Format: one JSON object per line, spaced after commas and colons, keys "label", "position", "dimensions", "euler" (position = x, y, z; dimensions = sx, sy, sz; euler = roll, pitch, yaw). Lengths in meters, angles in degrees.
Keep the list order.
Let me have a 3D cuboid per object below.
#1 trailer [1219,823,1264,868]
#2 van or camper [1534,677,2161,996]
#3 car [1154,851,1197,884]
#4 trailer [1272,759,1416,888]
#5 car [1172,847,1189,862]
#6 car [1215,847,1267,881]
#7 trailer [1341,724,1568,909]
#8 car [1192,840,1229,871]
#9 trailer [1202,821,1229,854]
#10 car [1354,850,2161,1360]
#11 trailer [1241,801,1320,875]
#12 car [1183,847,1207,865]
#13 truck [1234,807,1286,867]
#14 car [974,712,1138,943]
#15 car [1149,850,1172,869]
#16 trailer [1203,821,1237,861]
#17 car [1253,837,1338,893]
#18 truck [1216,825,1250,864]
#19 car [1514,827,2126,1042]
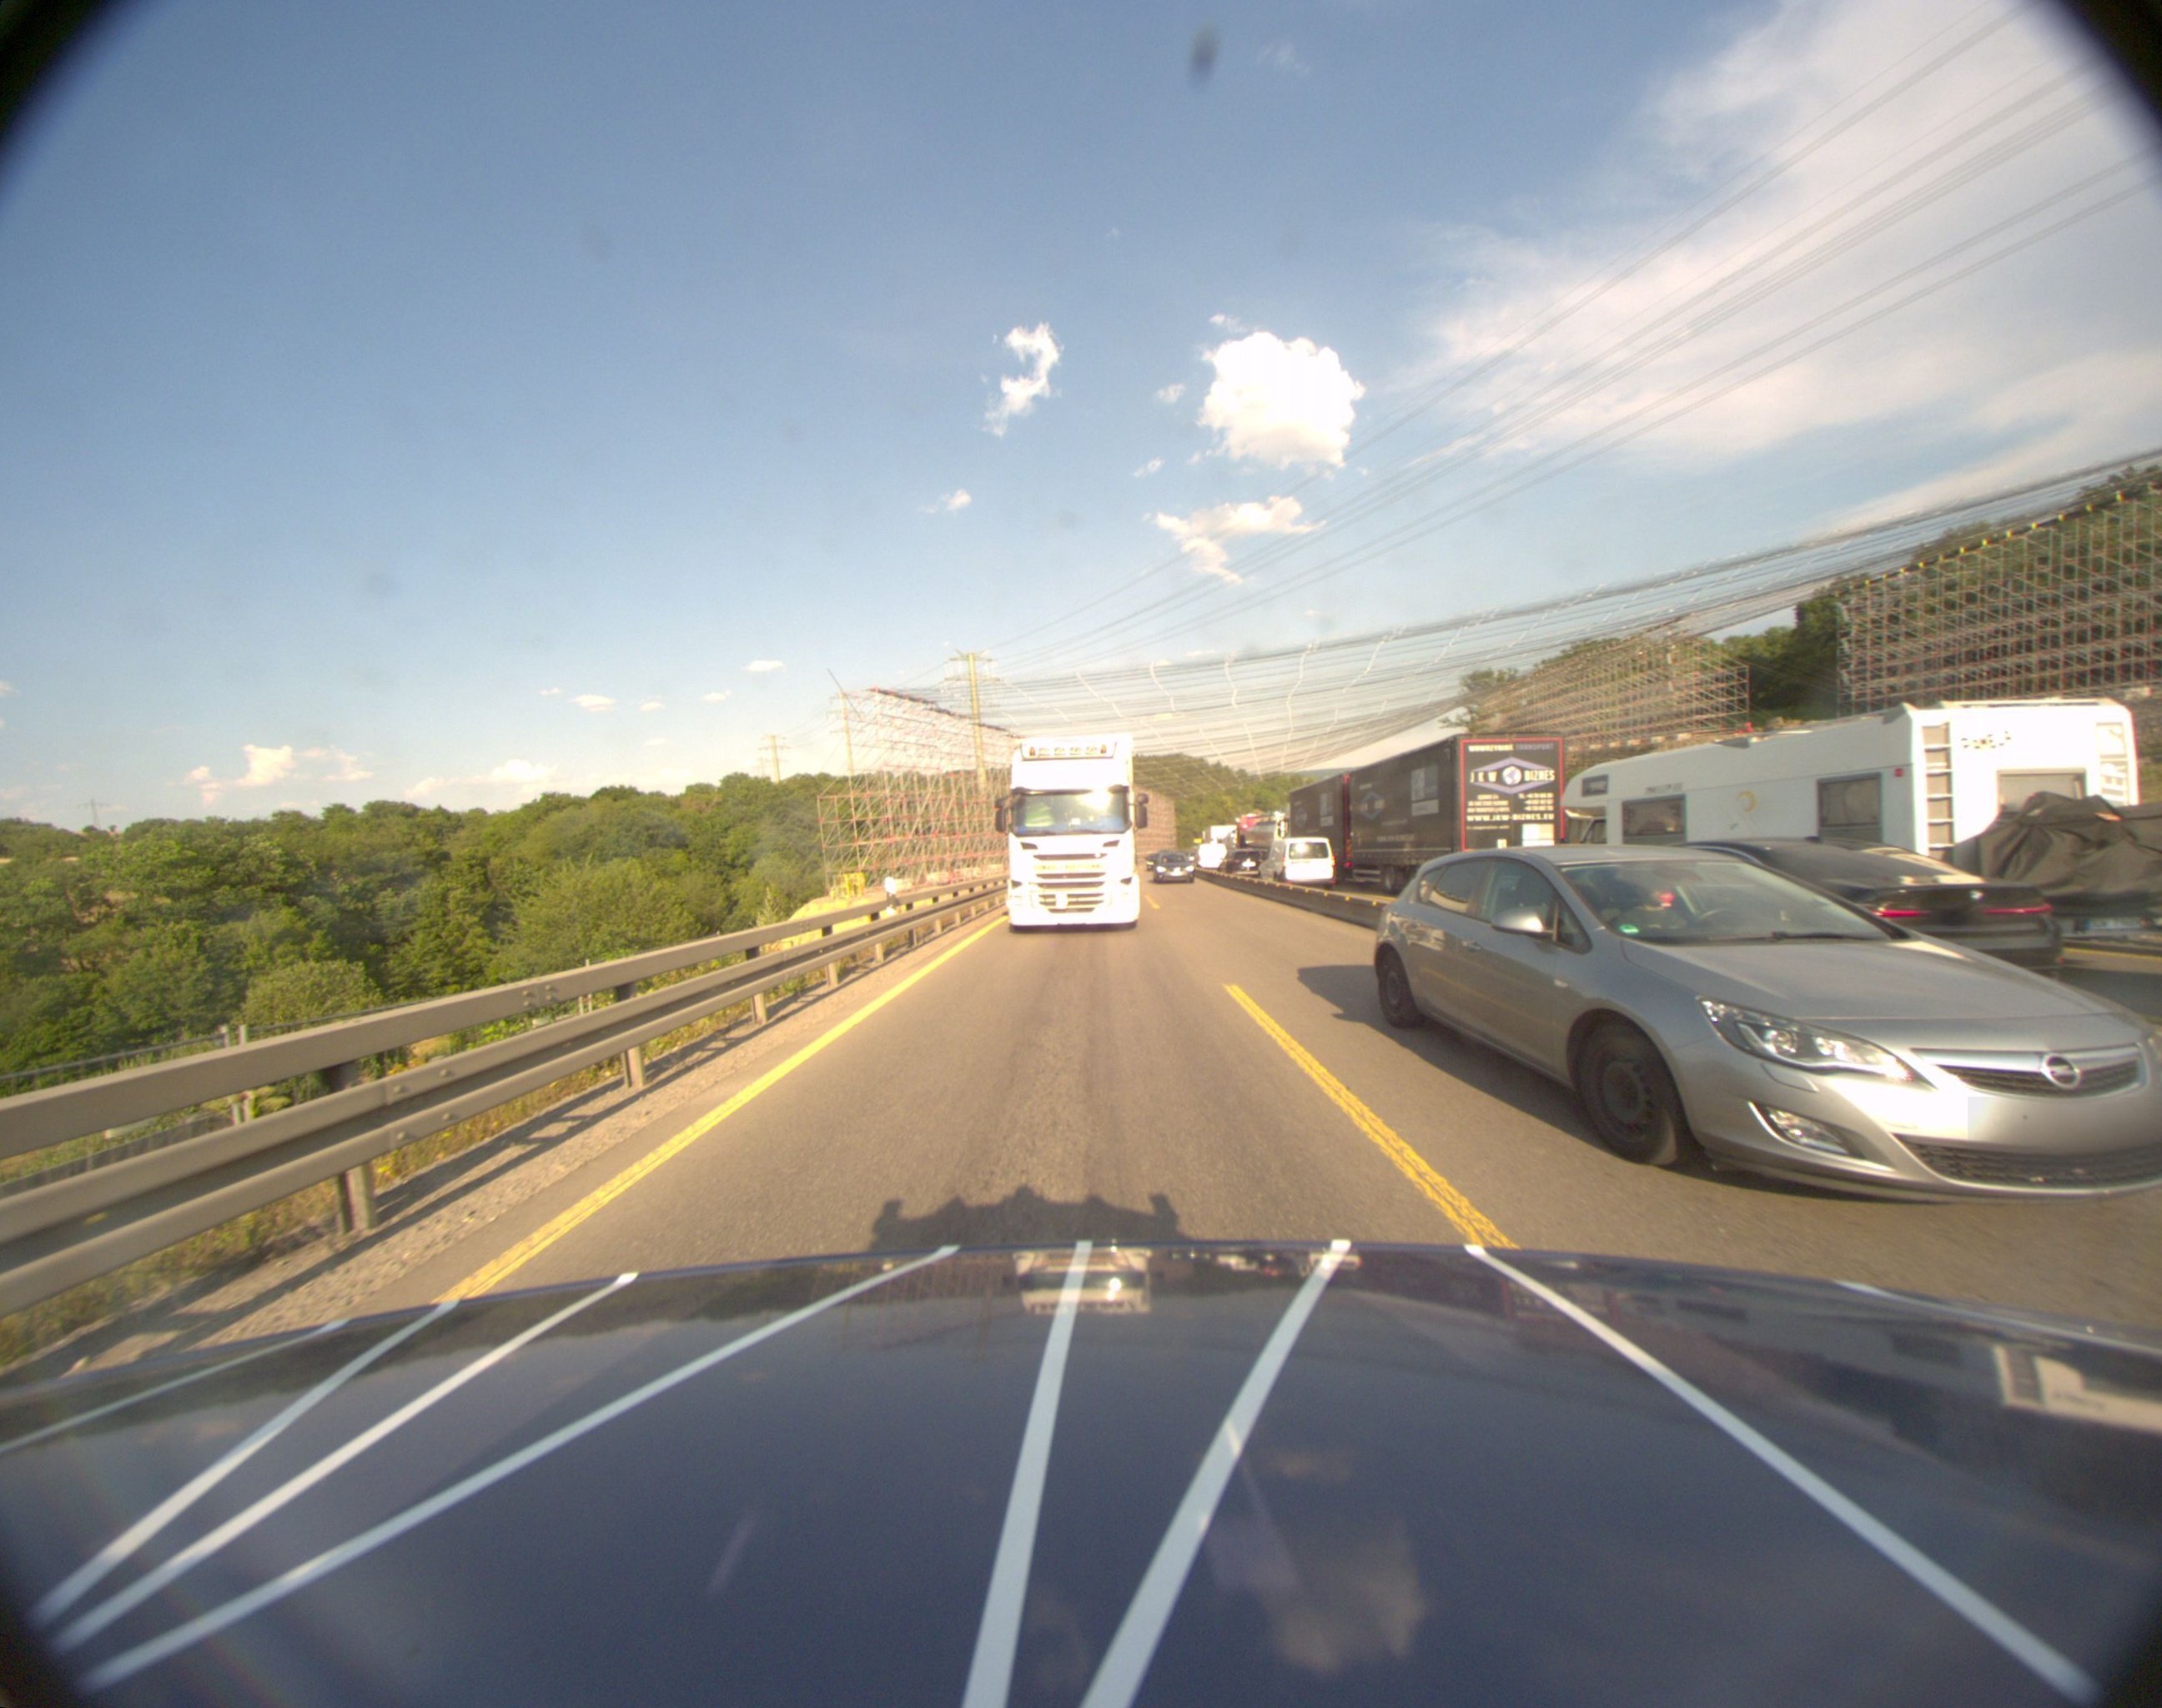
{"label": "trailer", "position": [13.053, -0.746, 62.767], "dimensions": [2.311, 3.342, 12.056], "euler": [-2, 1, 6]}
{"label": "van or camper", "position": [9.845, -0.222, 10.743], "dimensions": [2.414, 2.875, 7.617], "euler": [-2, 1, 1]}
{"label": "car", "position": [4.371, 0.586, 35.652], "dimensions": [1.764, 1.376, 3.823], "euler": [-2, 1, 3]}
{"label": "trailer", "position": [10.283, -1.106, 31.105], "dimensions": [2.482, 4.304, 10.510], "euler": [-2, 1, 2]}
{"label": "car", "position": [10.186, 0.032, 77.719], "dimensions": [1.510, 1.520, 3.588], "euler": [-2, 1, 5]}
{"label": "car", "position": [7.567, 0.427, 36.324], "dimensions": [1.684, 1.470, 4.603], "euler": [-2, 1, 3]}
{"label": "trailer", "position": [9.986, -0.909, 21.604], "dimensions": [2.449, 4.165, 8.543], "euler": [-2, 1, 2]}
{"label": "car", "position": [8.550, 0.088, 50.545], "dimensions": [1.821, 1.914, 4.836], "euler": [-2, 1, 2]}
{"label": "trailer", "position": [17.855, -2.166, 101.523], "dimensions": [2.675, 3.992, 13.338], "euler": [-2, 1, 7]}
{"label": "car", "position": [3.264, 0.756, 4.472], "dimensions": [1.760, 1.464, 4.352], "euler": [-2, 1, 0]}
{"label": "trailer", "position": [11.631, -0.939, 45.481], "dimensions": [2.312, 3.768, 12.054], "euler": [-2, 1, 4]}
{"label": "car", "position": [10.021, 0.168, 67.103], "dimensions": [1.631, 1.418, 4.658], "euler": [-2, 1, 4]}
{"label": "truck", "position": [12.012, -1.108, 51.351], "dimensions": [2.438, 3.763, 5.618], "euler": [-2, 1, 3]}
{"label": "car", "position": [-0.235, -0.531, 17.884], "dimensions": [2.858, 4.092, 8.281], "euler": [-2, 1, 3]}
{"label": "car", "position": [6.296, 0.433, 60.400], "dimensions": [1.675, 1.376, 3.823], "euler": [-2, 1, 4]}
{"label": "trailer", "position": [14.980, -1.374, 82.478], "dimensions": [2.432, 3.940, 14.102], "euler": [-2, 1, 6]}
{"label": "car", "position": [7.183, 0.302, 25.878], "dimensions": [1.761, 1.685, 4.453], "euler": [-2, 1, 2]}
{"label": "truck", "position": [13.748, -0.866, 68.950], "dimensions": [2.419, 3.351, 5.619], "euler": [-2, 1, 6]}
{"label": "car", "position": [6.619, 0.549, 7.752], "dimensions": [1.798, 1.502, 4.585], "euler": [-2, 1, 1]}
